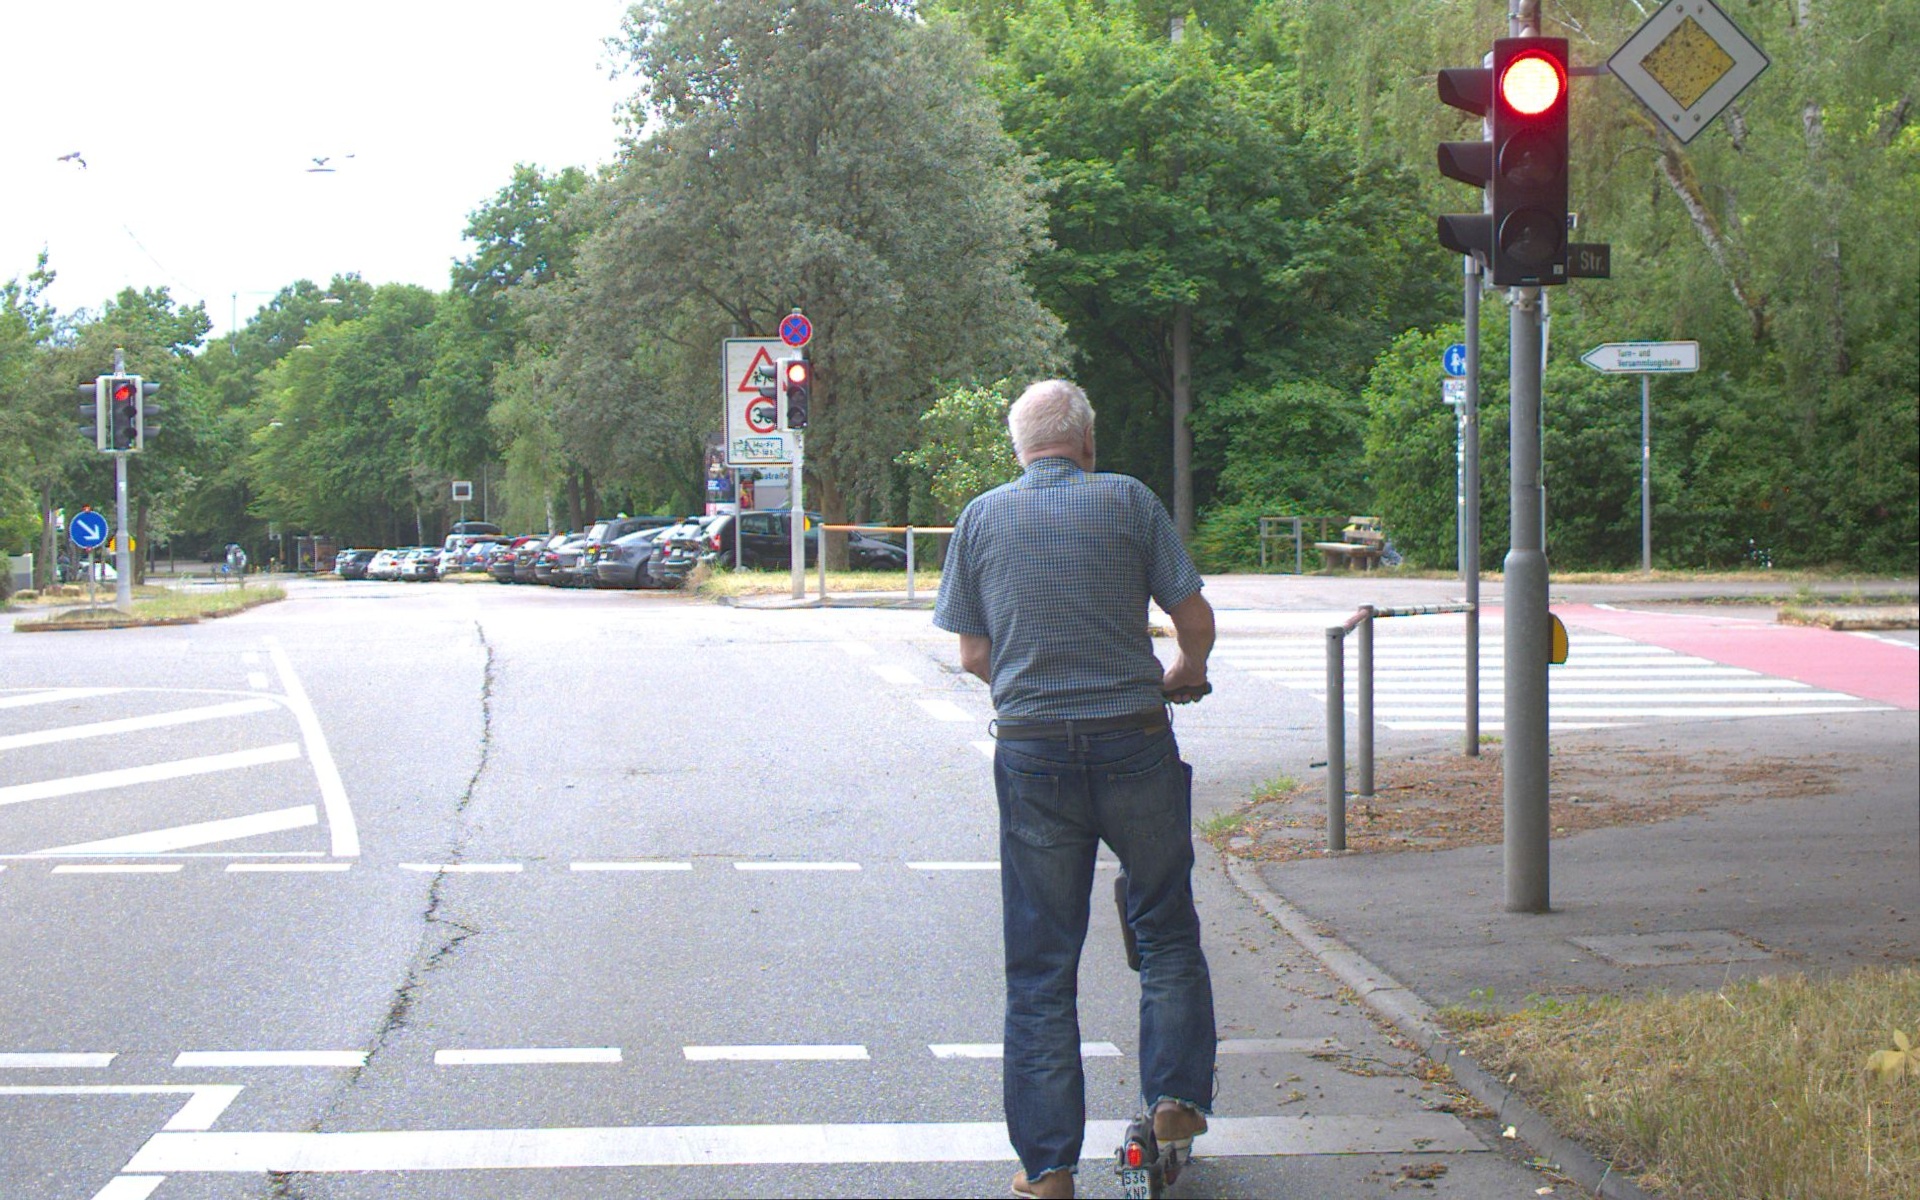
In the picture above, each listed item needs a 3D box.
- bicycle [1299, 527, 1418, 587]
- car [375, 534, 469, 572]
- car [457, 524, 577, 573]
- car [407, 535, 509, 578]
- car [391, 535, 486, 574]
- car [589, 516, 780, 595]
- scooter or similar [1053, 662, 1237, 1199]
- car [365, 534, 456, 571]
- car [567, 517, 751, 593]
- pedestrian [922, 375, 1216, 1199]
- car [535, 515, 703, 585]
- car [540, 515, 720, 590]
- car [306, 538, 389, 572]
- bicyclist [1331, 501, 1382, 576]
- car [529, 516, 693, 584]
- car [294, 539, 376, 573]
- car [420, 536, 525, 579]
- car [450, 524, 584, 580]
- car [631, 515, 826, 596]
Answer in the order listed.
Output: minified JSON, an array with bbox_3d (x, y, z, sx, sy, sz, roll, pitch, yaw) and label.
[{"bbox_3d":[6.641,-0.714,57.311,1.919,0.955,0.494,1,1,-19],"label":"bicycle"},{"bbox_3d":[-24.437,-2.139,156.205,3.840,1.605,1.729,-3,2,-23],"label":"car"},{"bbox_3d":[-15.694,-1.840,121.893,3.840,1.605,1.729,-3,2,-23],"label":"car"},{"bbox_3d":[-20.842,-1.814,142.770,3.840,1.605,1.729,-3,2,-23],"label":"car"},{"bbox_3d":[-23.363,-2.041,154.073,3.840,1.605,1.729,-3,2,-23],"label":"car"},{"bbox_3d":[-6.146,-1.003,76.761,3.841,1.605,1.728,-3,2,-24],"label":"car"},{"bbox_3d":[0.414,0.750,7.398,0.282,1.174,1.177,-1,1,8],"label":"scooter or similar"},{"bbox_3d":[-25.379,-2.199,158.776,3.840,1.605,1.729,-3,2,-23],"label":"car"},{"bbox_3d":[-6.948,-1.055,79.303,3.840,1.605,1.729,-3,2,-23],"label":"car"},{"bbox_3d":[0.249,0.424,7.568,0.573,1.807,0.420,-1,1,8],"label":"pedestrian"},{"bbox_3d":[-8.596,-1.269,86.650,3.840,1.605,1.729,-3,2,-23],"label":"car"},{"bbox_3d":[-7.810,-1.134,81.337,3.840,1.605,1.729,-3,2,-23],"label":"car"},{"bbox_3d":[-31.314,-2.321,175.638,3.840,1.605,1.729,-3,2,-23],"label":"car"},{"bbox_3d":[6.607,-1.025,57.295,0.676,1.244,0.494,1,1,-19],"label":"bicyclist"},{"bbox_3d":[-9.036,-1.315,89.062,3.840,1.605,1.729,-3,2,-23],"label":"car"},{"bbox_3d":[-32.336,-2.293,177.976,3.840,1.605,1.729,-3,2,-23],"label":"car"},{"bbox_3d":[-19.738,-1.734,139.095,3.840,1.605,1.729,-3,2,-23],"label":"car"},{"bbox_3d":[-14.048,-1.526,108.926,3.840,1.605,1.729,-3,2,-23],"label":"car"},{"bbox_3d":[-5.046,-0.972,74.791,3.840,1.605,1.729,-2,2,-21],"label":"car"}]
